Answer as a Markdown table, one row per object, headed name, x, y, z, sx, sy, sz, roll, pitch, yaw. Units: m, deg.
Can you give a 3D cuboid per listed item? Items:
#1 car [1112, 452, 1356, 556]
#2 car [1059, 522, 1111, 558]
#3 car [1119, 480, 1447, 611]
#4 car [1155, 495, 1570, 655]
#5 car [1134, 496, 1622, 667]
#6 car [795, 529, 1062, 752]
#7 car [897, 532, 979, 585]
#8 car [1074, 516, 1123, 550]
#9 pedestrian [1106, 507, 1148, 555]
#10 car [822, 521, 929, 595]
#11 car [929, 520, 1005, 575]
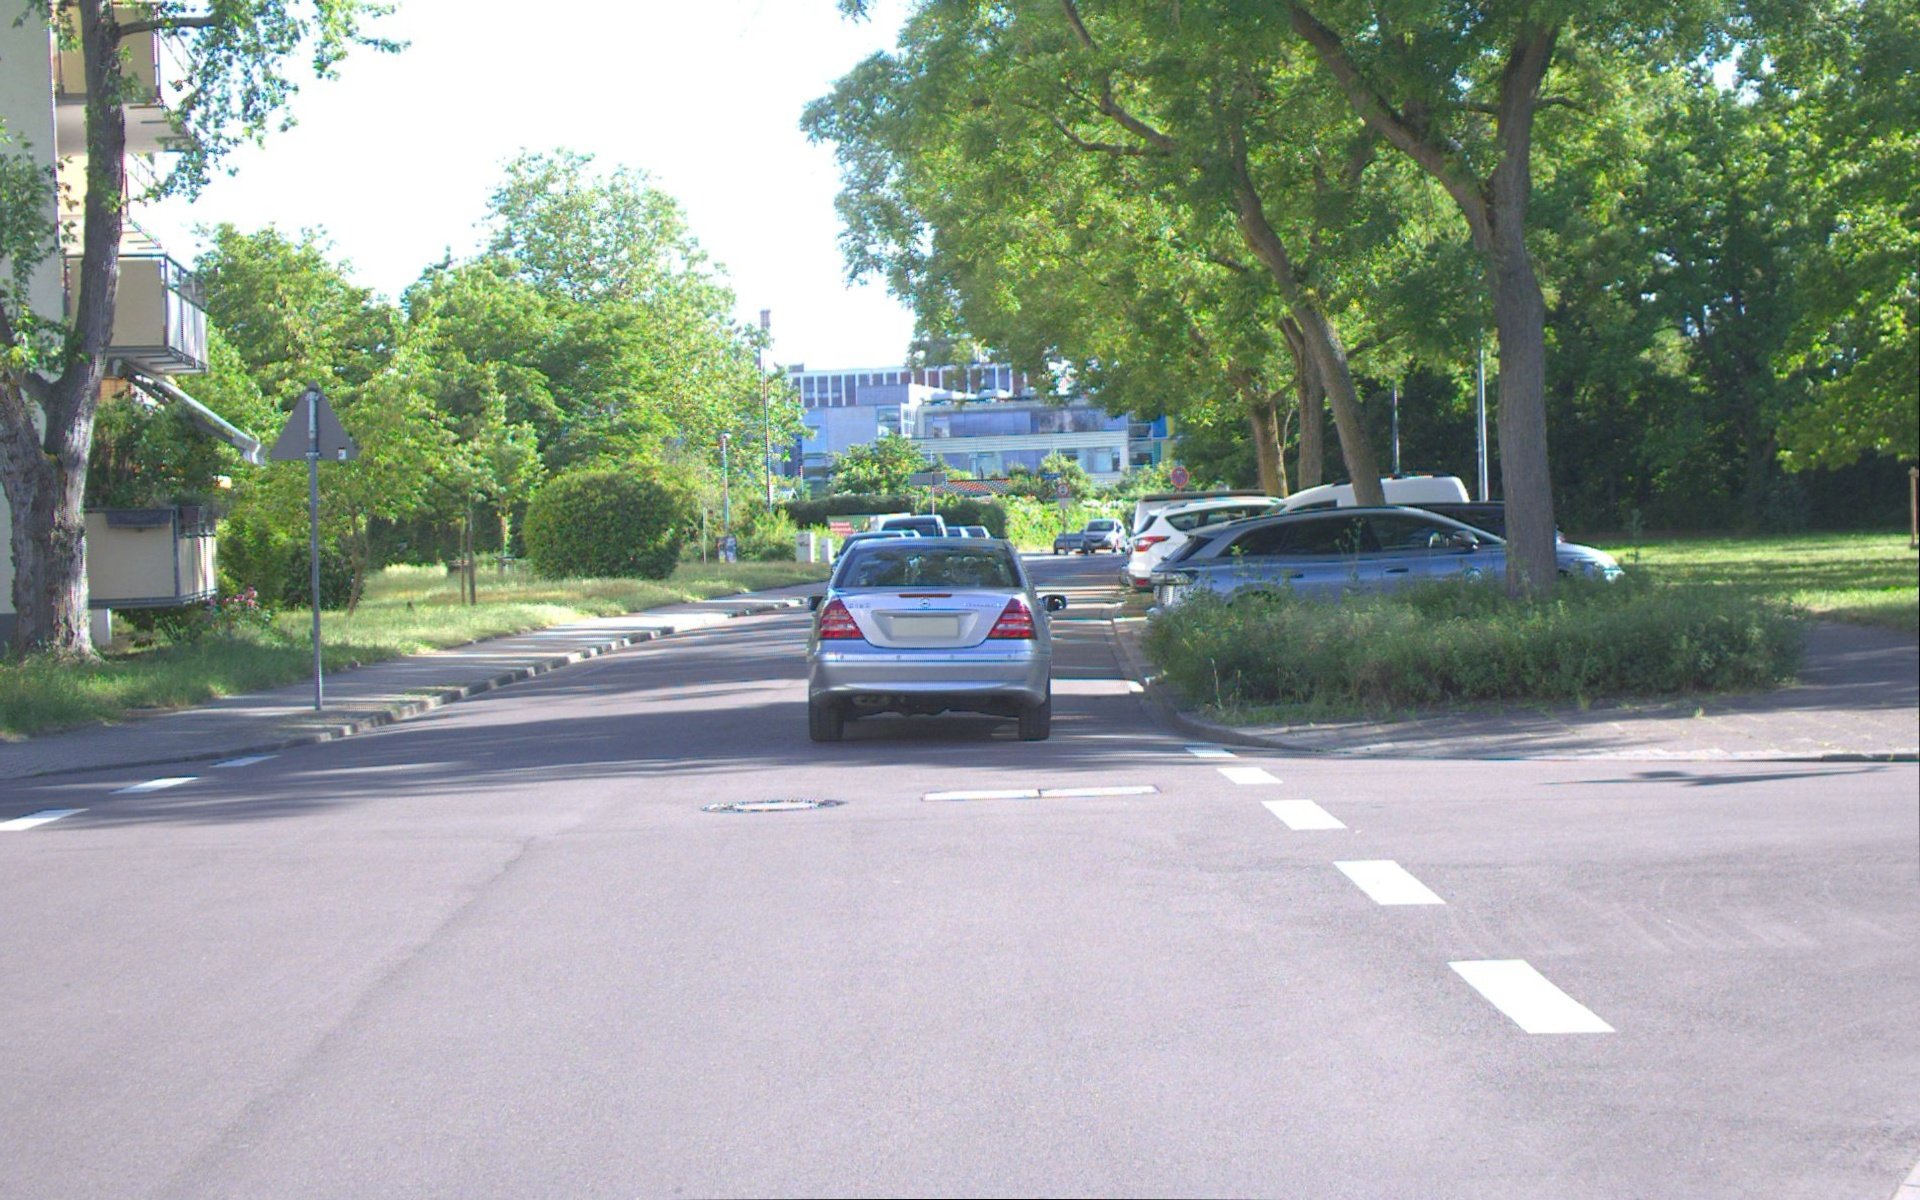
| name | x | y | z | sx | sy | sz | roll | pitch | yaw |
| --- | --- | --- | --- | --- | --- | --- | --- | --- | --- |
| car | 6.031 | -2.122 | 75.847 | 5.218 | 2.052 | 2.000 | -2 | 1 | 5 |
| car | 5.578 | -2.701 | 153.514 | 1.894 | 1.497 | 3.655 | -2 | 1 | 8 |
| car | 4.967 | -0.849 | 53.297 | 4.885 | 1.717 | 2.000 | -3 | 1 | 3 |
| car | 4.422 | -0.294 | 38.258 | 4.427 | 1.566 | 1.737 | -2 | 1 | 3 |
| car | 4.281 | -0.215 | 35.783 | 4.782 | 1.543 | 2.012 | -2 | 1 | 0 |
| car | -0.267 | 0.251 | 24.525 | 1.733 | 1.429 | 3.438 | -2 | 1 | -2 |
| car | -0.603 | -1.183 | 97.122 | 1.750 | 1.325 | 3.450 | -5 | 1 | 8 |
| car | 6.548 | -3.142 | 161.740 | 1.894 | 1.497 | 3.655 | -2 | 1 | 8 |
| pedestrian | 7.477 | -3.088 | 153.461 | 1.575 | 2.081 | 1.723 | -2 | 1 | 11 |
| car | -1.910 | -0.981 | 78.525 | 1.913 | 1.485 | 3.836 | -5 | 1 | 5 |
| car | 0.239 | -1.585 | 103.642 | 1.750 | 1.515 | 4.192 | -3 | 1 | 6 |
